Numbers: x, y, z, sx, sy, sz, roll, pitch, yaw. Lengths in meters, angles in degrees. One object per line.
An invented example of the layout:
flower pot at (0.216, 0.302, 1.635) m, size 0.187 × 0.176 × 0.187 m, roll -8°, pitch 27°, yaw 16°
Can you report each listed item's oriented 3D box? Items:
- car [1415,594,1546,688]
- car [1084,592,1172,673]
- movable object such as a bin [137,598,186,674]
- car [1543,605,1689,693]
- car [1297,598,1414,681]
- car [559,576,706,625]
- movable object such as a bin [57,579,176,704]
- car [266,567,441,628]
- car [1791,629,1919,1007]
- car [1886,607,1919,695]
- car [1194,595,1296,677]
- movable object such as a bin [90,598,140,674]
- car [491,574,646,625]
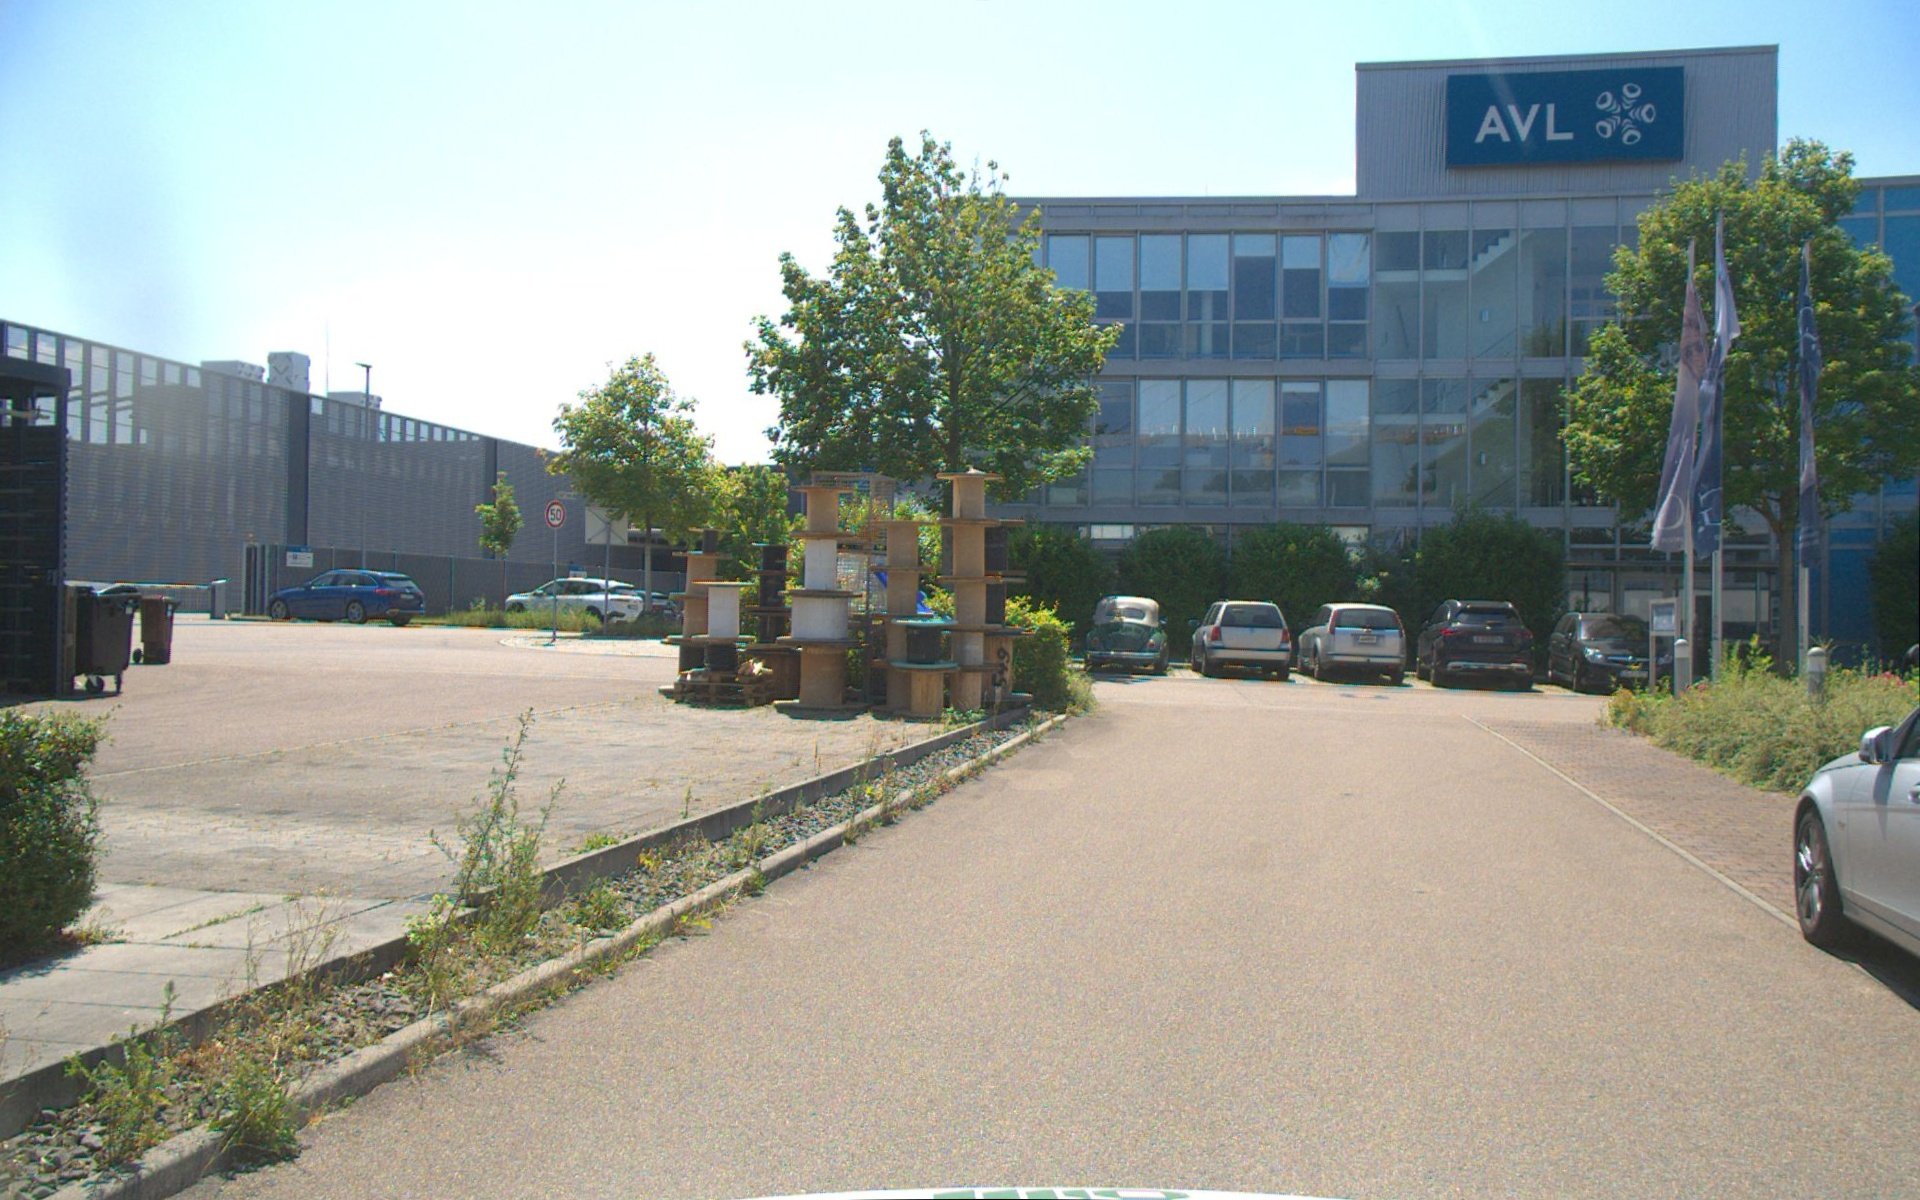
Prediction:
car at (10.136, 0.750, 32.480) m, size 1.886 × 1.639 × 3.990 m, roll 2°, pitch 1°, yaw 9°
car at (3.420, 0.608, 33.225) m, size 1.509 × 1.474 × 3.657 m, roll 2°, pitch 1°, yaw 9°
movable object such as a bin at (-11.242, 0.500, 23.300) m, size 0.569 × 1.054 × 0.423 m, roll 1°, pitch -1°, yaw -23°
car at (12.567, 0.885, 31.937) m, size 1.732 × 1.508 × 4.262 m, roll 1°, pitch 1°, yaw 9°
car at (7.863, 0.741, 33.181) m, size 1.728 × 1.474 × 3.656 m, roll 2°, pitch 1°, yaw 5°
car at (-11.336, -0.003, 57.247) m, size 4.743 × 1.517 × 1.999 m, roll 2°, pitch 1°, yaw 25°
movable object such as a bin at (-9.542, 0.459, 18.734) m, size 0.794 × 1.368 × 0.885 m, roll 1°, pitch 0°, yaw 16°
car at (-16.713, -0.095, 45.572) m, size 4.411 × 1.517 × 1.999 m, roll 2°, pitch 1°, yaw 25°
car at (4.456, 0.843, 5.866) m, size 1.761 × 1.422 × 4.423 m, roll 1°, pitch -1°, yaw 14°
car at (19.063, 1.002, 30.823) m, size 1.780 × 1.648 × 4.343 m, roll 1°, pitch 1°, yaw 9°
car at (5.645, 0.672, 33.085) m, size 1.695 × 1.474 × 3.656 m, roll 2°, pitch 1°, yaw 5°
movable object such as a bin at (-11.785, 0.497, 23.077) m, size 0.572 × 1.045 × 0.423 m, roll 1°, pitch -1°, yaw -23°
car at (-12.940, -0.043, 54.625) m, size 4.743 × 1.517 × 1.999 m, roll 2°, pitch 1°, yaw 25°
